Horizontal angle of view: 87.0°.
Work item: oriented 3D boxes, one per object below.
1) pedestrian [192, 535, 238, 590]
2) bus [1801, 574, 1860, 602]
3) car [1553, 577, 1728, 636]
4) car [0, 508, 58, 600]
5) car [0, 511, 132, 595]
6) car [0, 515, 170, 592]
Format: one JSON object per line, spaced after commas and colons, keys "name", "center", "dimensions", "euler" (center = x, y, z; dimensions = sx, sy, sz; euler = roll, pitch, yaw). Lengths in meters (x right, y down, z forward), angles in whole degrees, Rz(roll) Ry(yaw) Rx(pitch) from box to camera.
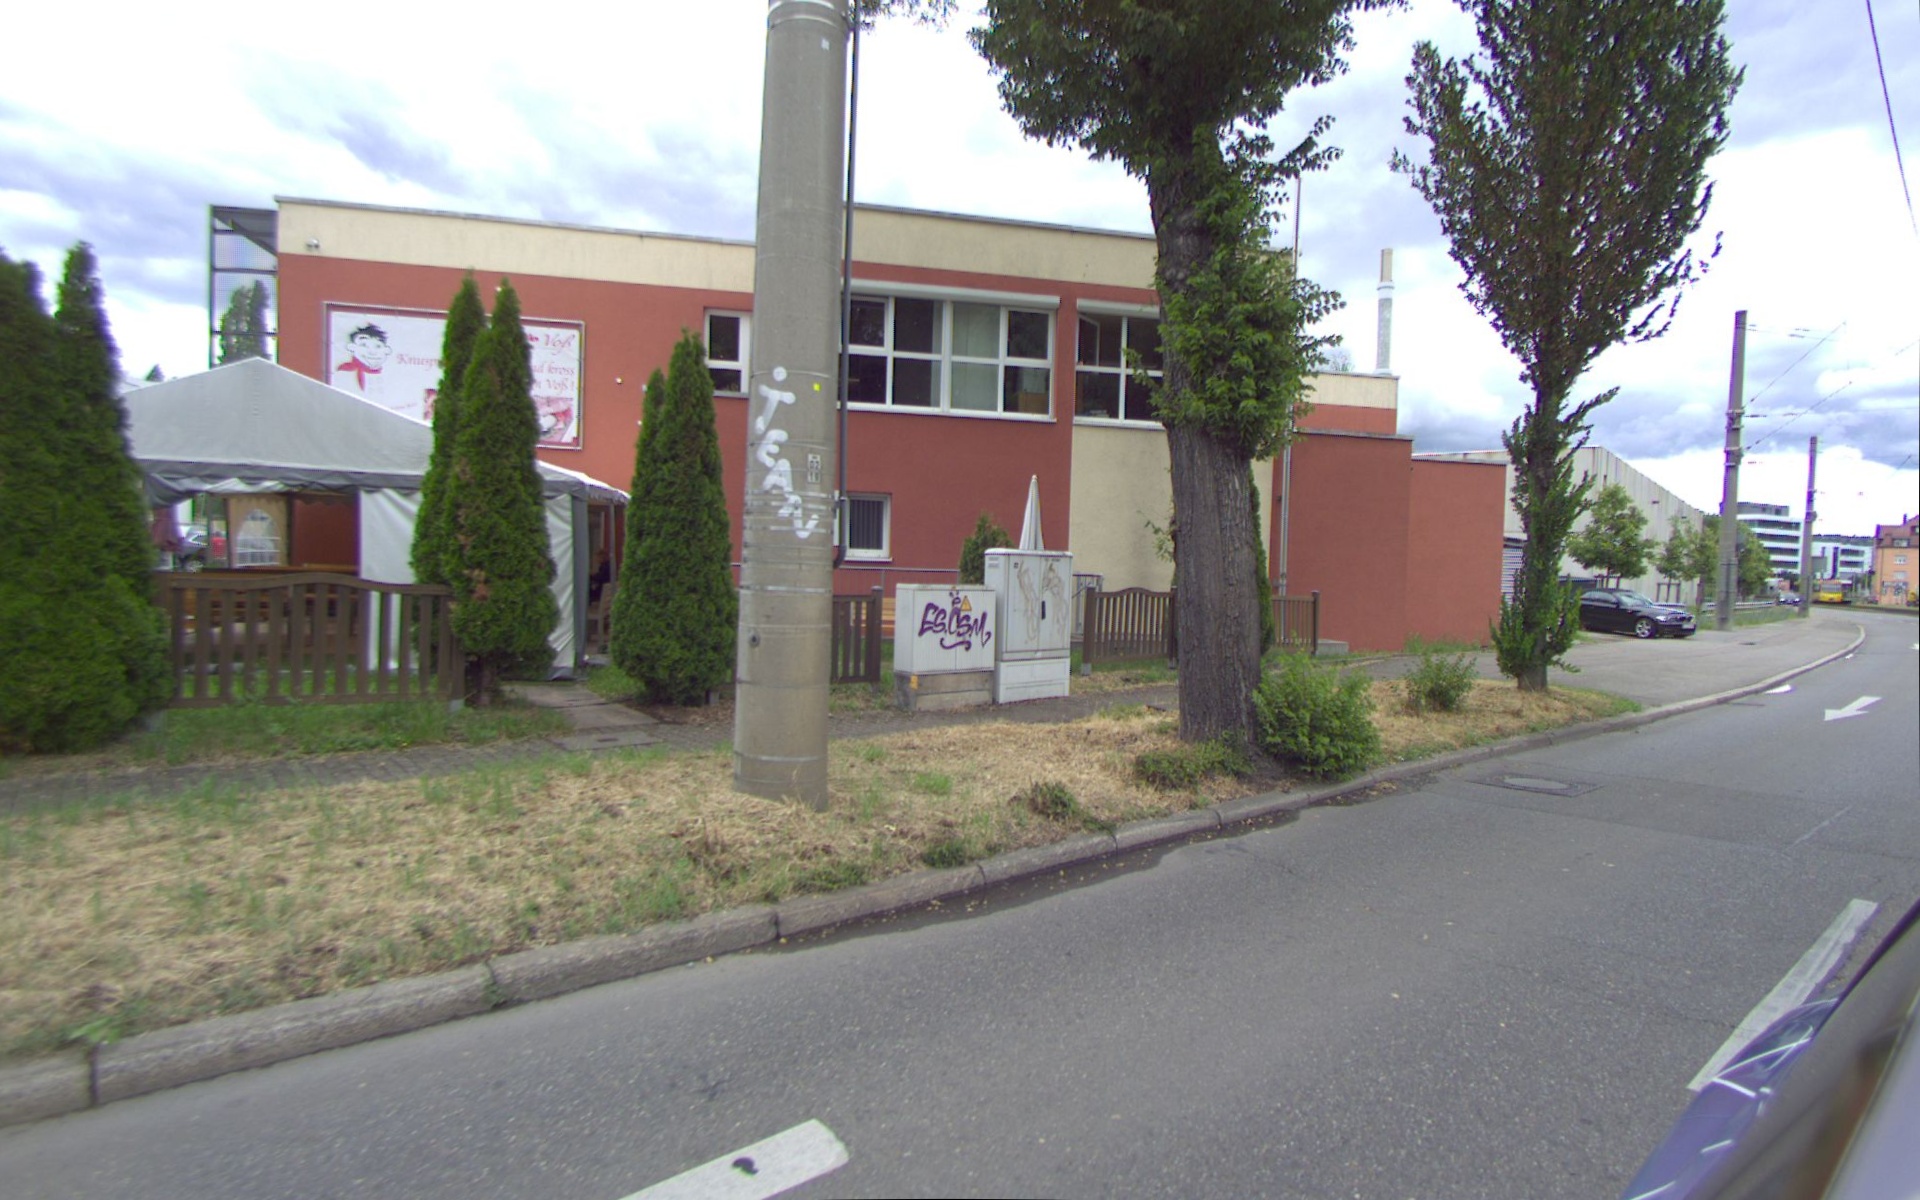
{"name": "pedestrian", "center": [-20.907, -1.054, 28.422], "dimensions": [0.780, 1.488, 0.719], "euler": [2, 1, 19]}
{"name": "bus", "center": [132.510, -1.959, 154.305], "dimensions": [3.519, 4.001, 10.420], "euler": [1, 2, 22]}
{"name": "car", "center": [20.990, 0.164, 31.441], "dimensions": [1.726, 1.460, 4.246], "euler": [1, 4, -19]}
{"name": "car", "center": [-21.169, -0.982, 20.690], "dimensions": [3.927, 1.860, 1.999], "euler": [0, 2, -39]}
{"name": "car", "center": [-22.098, -1.107, 23.845], "dimensions": [3.927, 1.860, 1.999], "euler": [0, 2, -39]}
{"name": "car", "center": [-23.146, -1.185, 26.445], "dimensions": [3.927, 1.860, 1.999], "euler": [0, 2, -39]}
